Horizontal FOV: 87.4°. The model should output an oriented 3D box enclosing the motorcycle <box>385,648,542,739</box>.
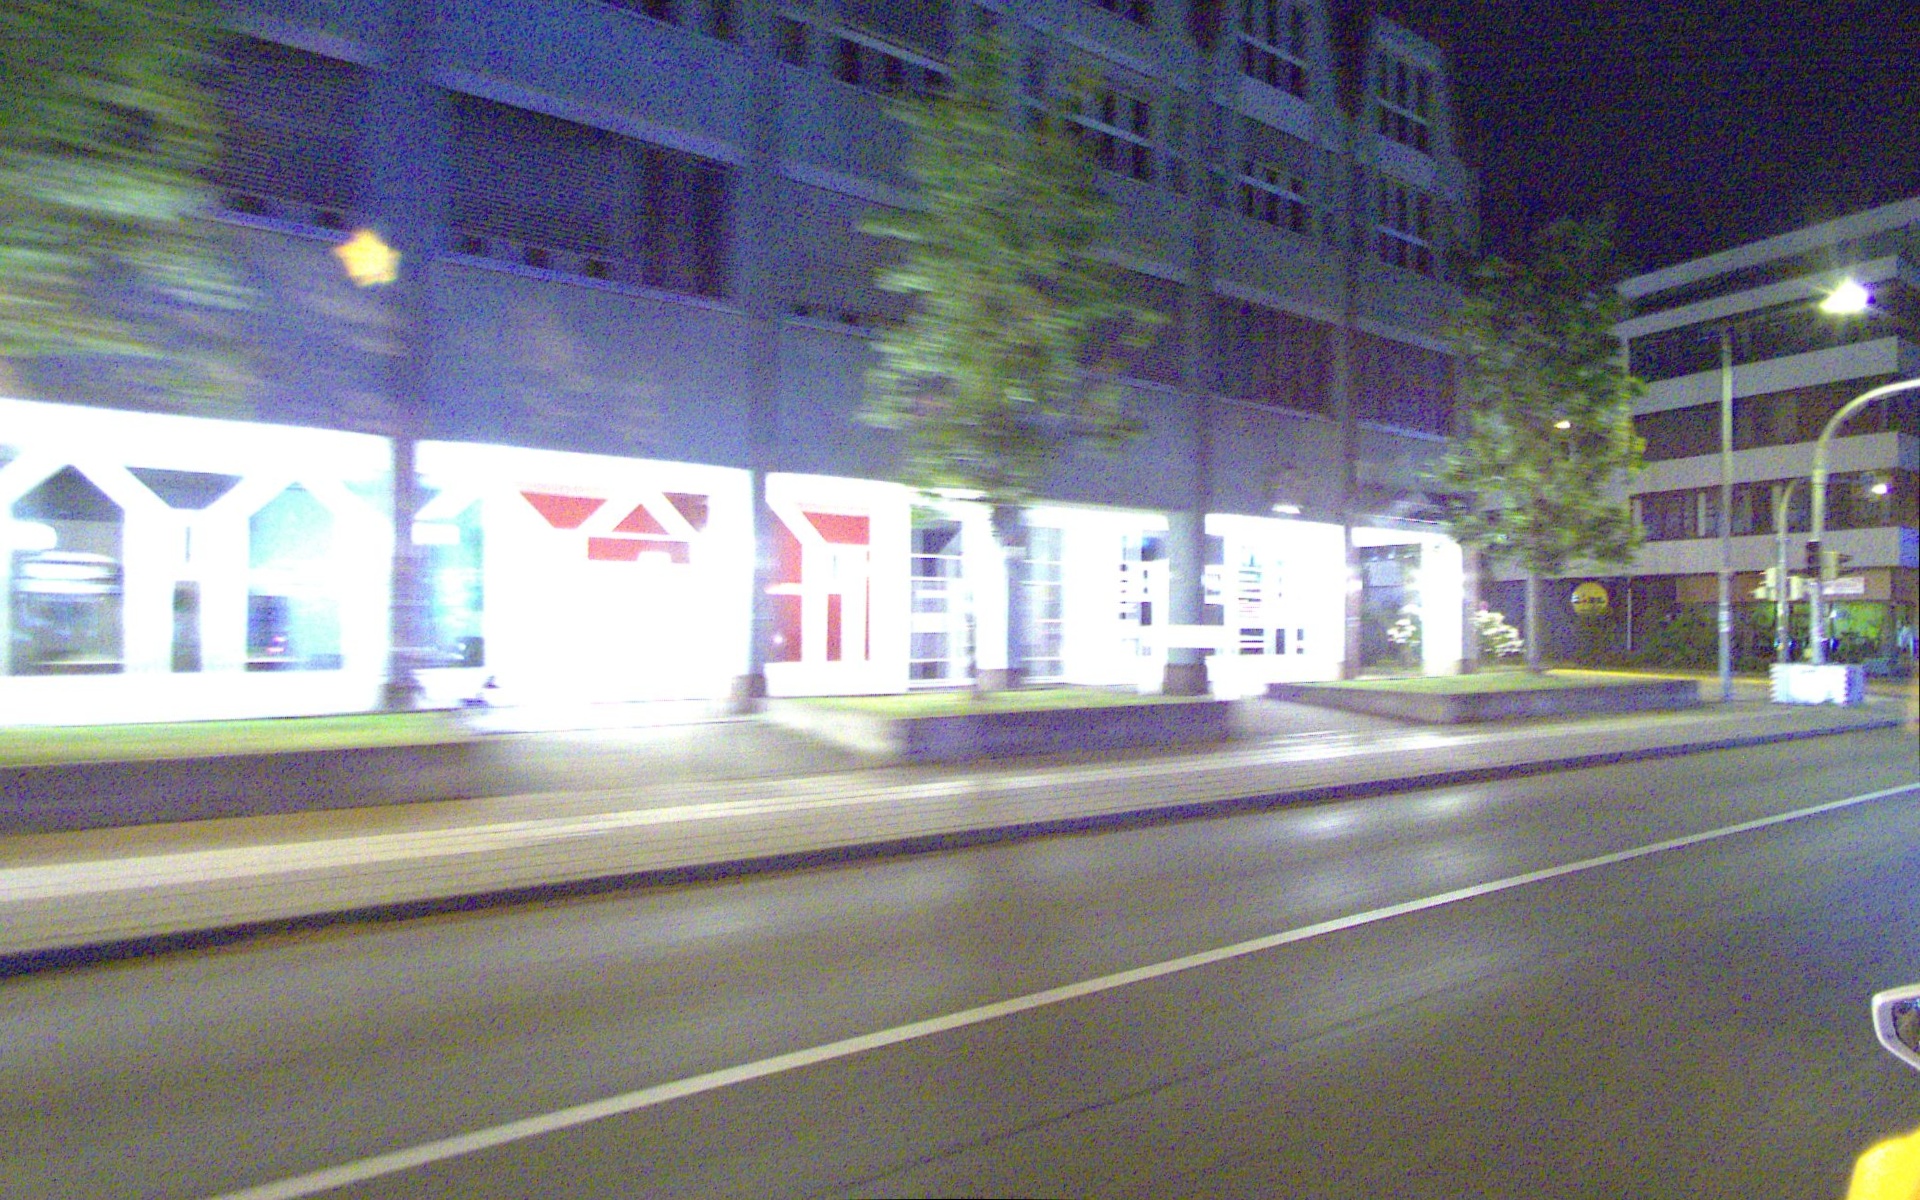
[{"bbox_3d":[-5.957,1.108,12.143,1.651,1.034,0.477,1,-1,-22],"label":"motorcycle"}]
